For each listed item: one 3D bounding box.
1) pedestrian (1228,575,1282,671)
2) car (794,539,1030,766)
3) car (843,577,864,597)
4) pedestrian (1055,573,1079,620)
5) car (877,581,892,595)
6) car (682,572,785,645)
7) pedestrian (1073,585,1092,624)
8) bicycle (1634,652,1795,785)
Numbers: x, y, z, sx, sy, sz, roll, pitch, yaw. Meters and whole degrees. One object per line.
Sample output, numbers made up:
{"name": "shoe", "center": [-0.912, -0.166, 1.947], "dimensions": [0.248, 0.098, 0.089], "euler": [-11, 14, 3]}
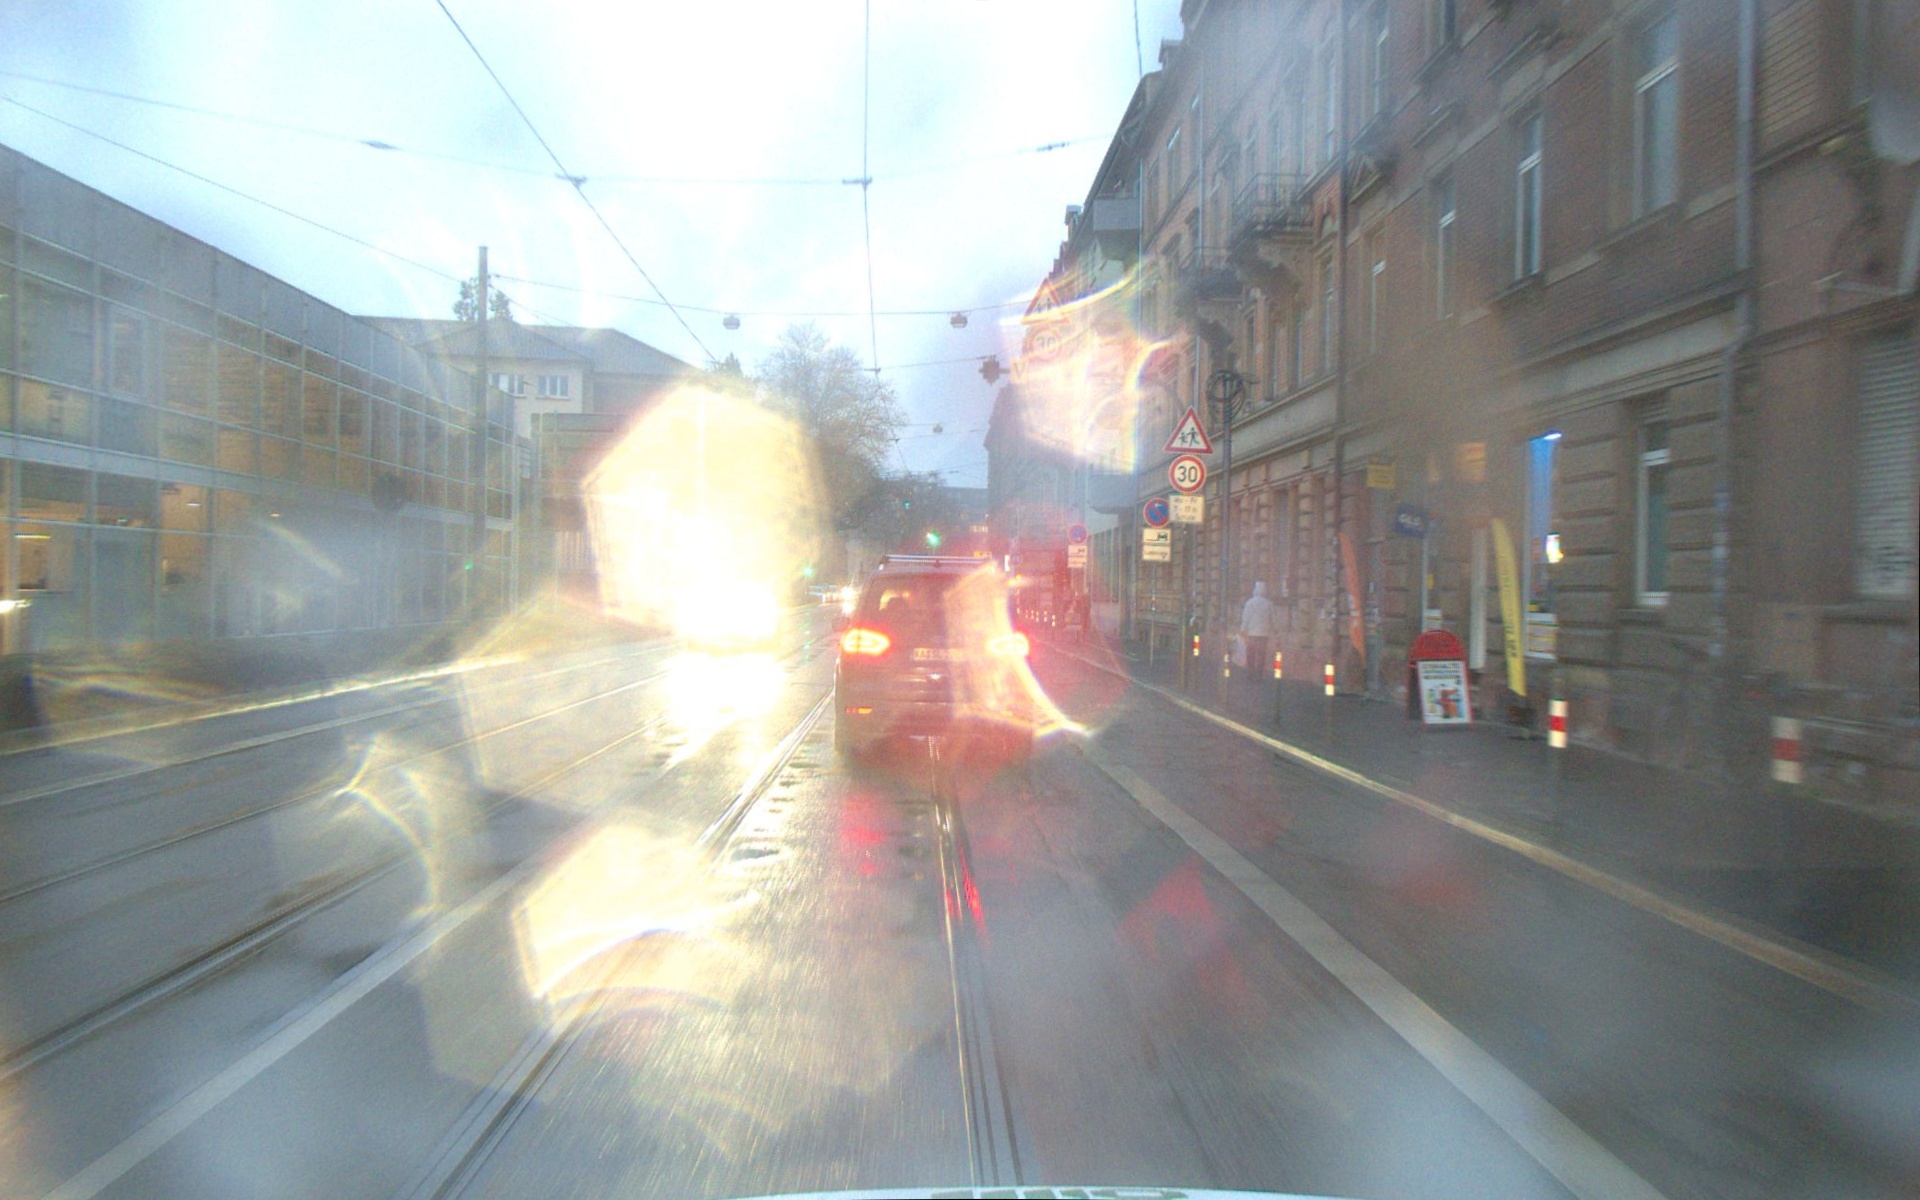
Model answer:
{"name": "pedestrian", "center": [5.115, 0.389, 28.707], "dimensions": [0.770, 1.625, 0.742], "euler": [1, 0, -1]}
{"name": "car", "center": [-0.362, 0.434, 15.927], "dimensions": [1.952, 1.874, 4.001], "euler": [1, 0, 1]}
{"name": "car", "center": [-9.688, -1.176, 150.958], "dimensions": [1.837, 1.739, 4.758], "euler": [0, 1, -2]}
{"name": "pedestrian", "center": [4.276, -0.152, 66.233], "dimensions": [0.592, 1.850, 0.768], "euler": [2, 0, -29]}
{"name": "car", "center": [-8.027, -1.292, 177.038], "dimensions": [1.499, 1.507, 3.560], "euler": [1, 0, -1]}
{"name": "car", "center": [-5.272, 0.176, 38.953], "dimensions": [1.803, 1.606, 4.442], "euler": [1, 0, 0]}
{"name": "pedestrian", "center": [4.474, 0.174, 60.551], "dimensions": [0.588, 1.401, 0.728], "euler": [1, 0, -2]}
{"name": "bicycle", "center": [6.059, 0.923, 13.378], "dimensions": [0.389, 0.927, 1.866], "euler": [1, 0, -2]}
